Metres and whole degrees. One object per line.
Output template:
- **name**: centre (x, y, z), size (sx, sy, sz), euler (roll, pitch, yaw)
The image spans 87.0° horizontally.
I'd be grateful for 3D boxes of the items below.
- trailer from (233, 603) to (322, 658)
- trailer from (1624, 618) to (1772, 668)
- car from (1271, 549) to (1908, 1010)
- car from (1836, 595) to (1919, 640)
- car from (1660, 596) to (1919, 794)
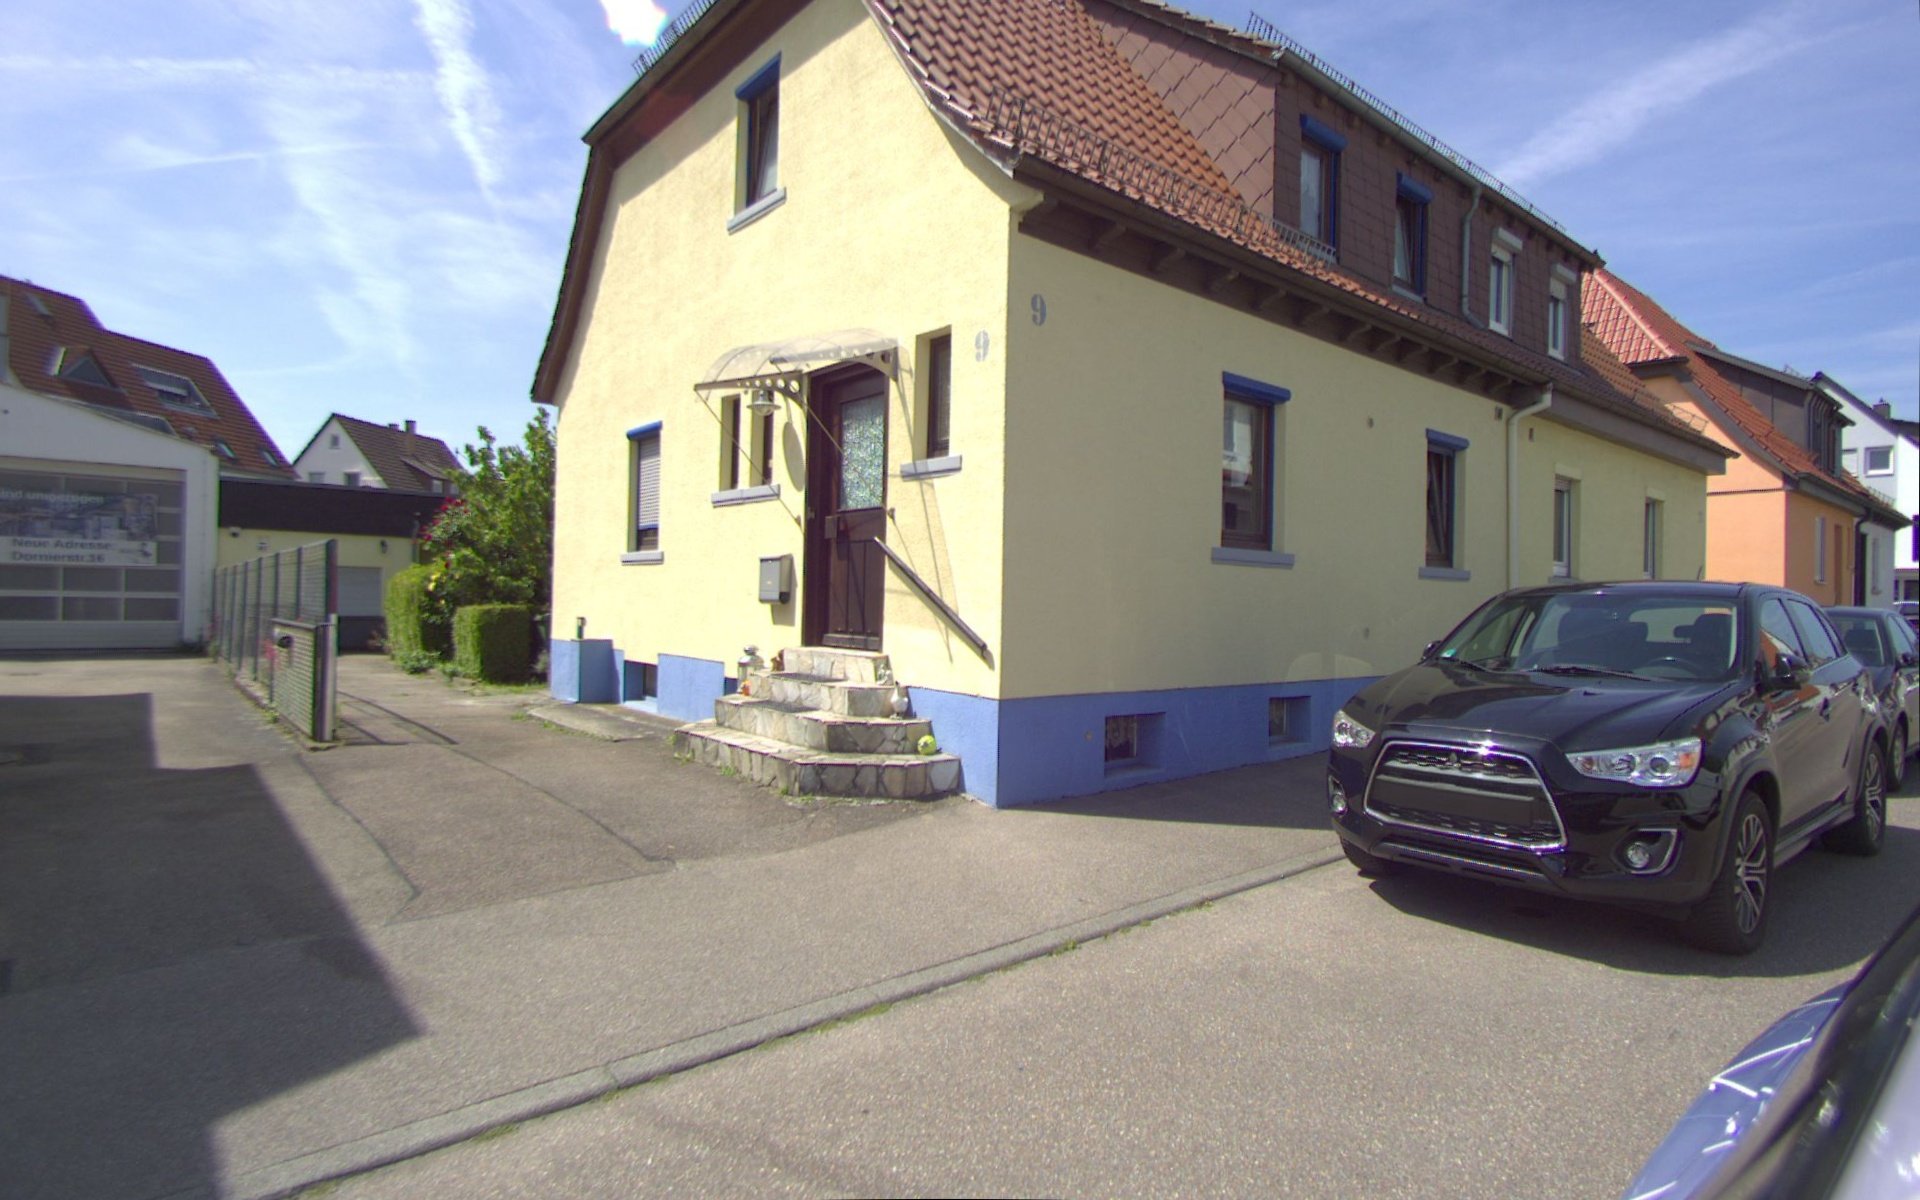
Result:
- **trailer**: centre (-14.358, 0.619, 21.268), size (1.293, 1.055, 2.169), euler (2, -1, -40)
- **trailer**: centre (14.741, 0.840, 20.305), size (2.116, 0.911, 1.234), euler (0, 0, 21)
- **car**: centre (3.667, 0.633, 5.572), size (4.177, 1.620, 1.732), euler (0, -1, -39)
- **car**: centre (36.525, 0.644, 38.633), size (1.811, 1.674, 4.310), euler (0, 0, -31)
- **car**: centre (7.908, 0.701, 9.251), size (3.688, 1.449, 1.613), euler (0, -1, -41)
